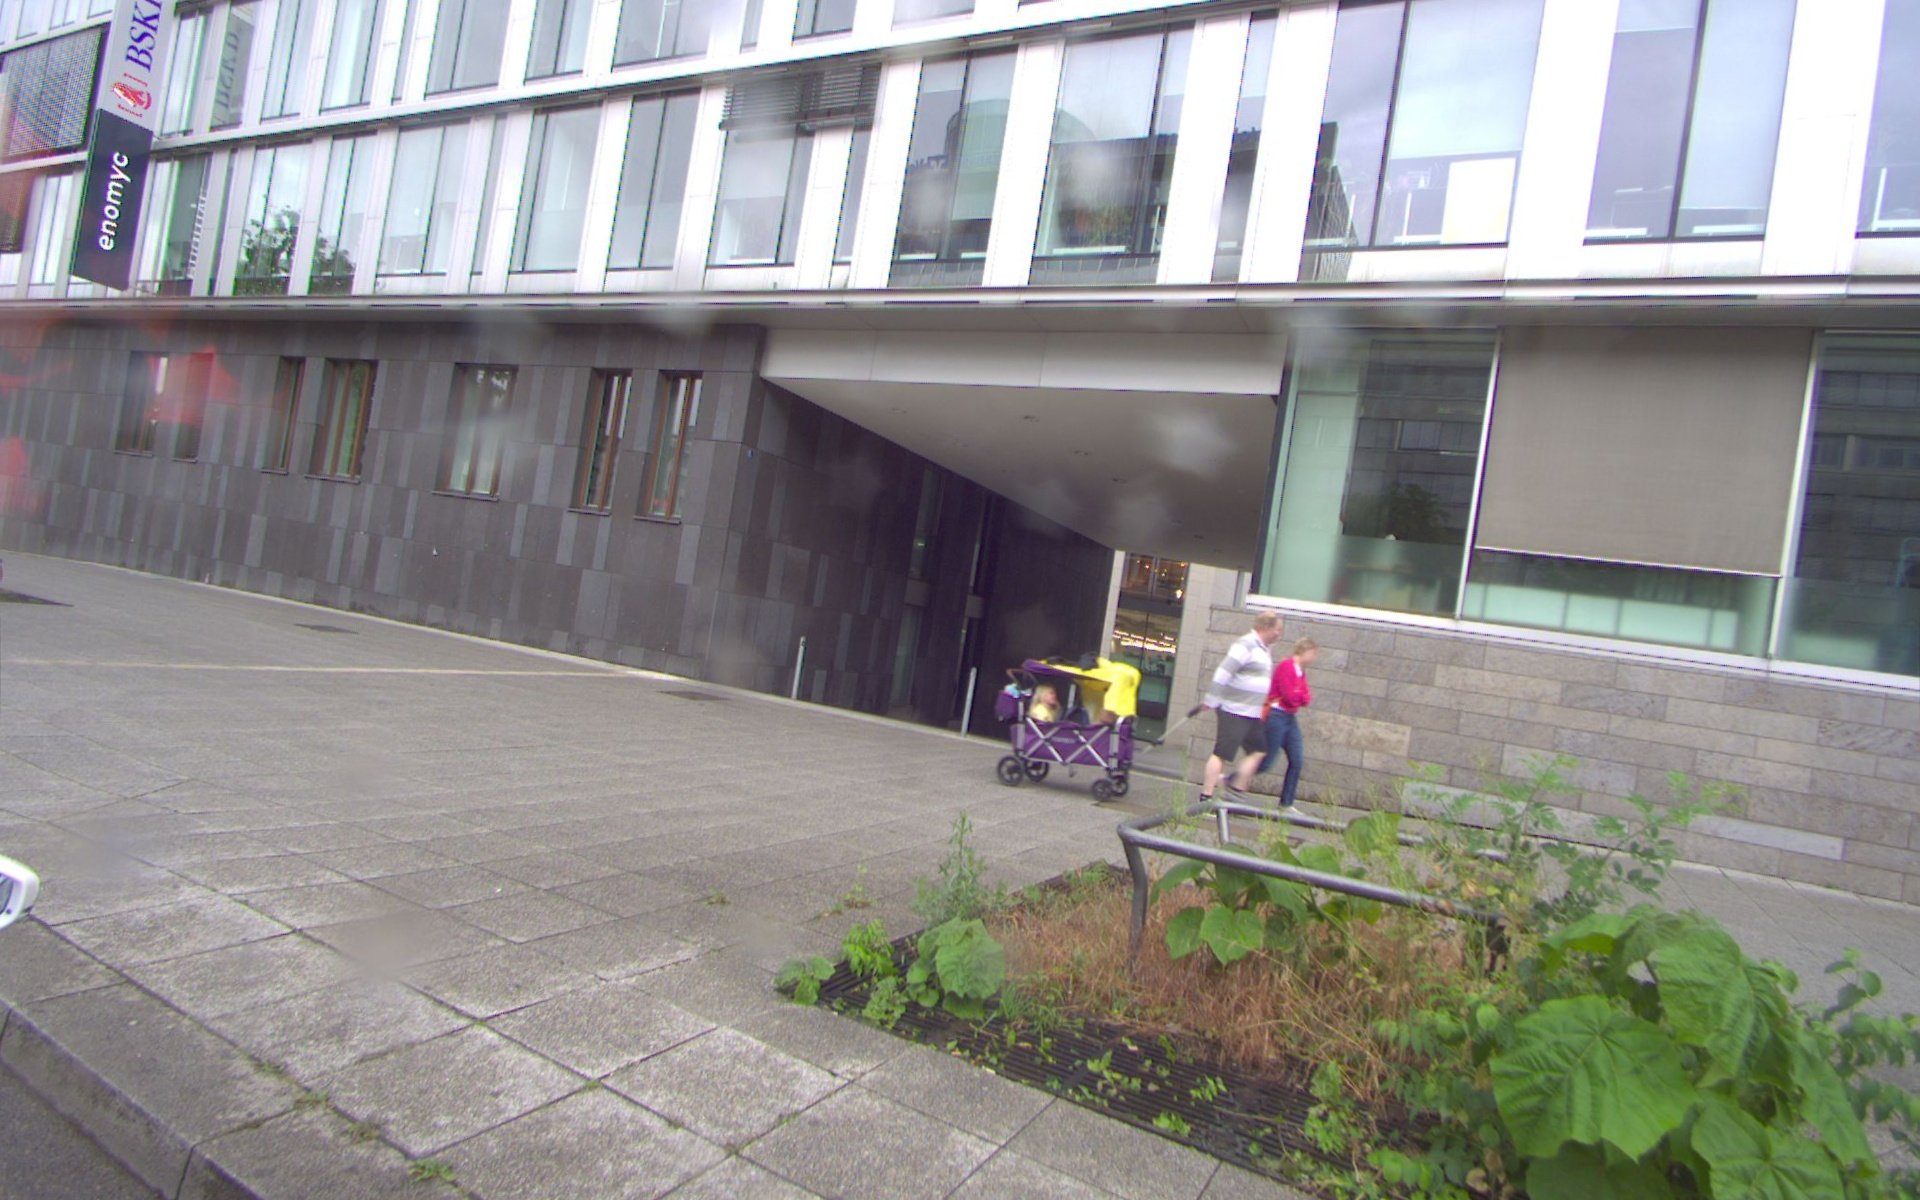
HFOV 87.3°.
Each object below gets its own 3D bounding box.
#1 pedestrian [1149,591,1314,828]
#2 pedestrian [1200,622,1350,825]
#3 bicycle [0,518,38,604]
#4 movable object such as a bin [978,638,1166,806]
[{"bbox_3d":[2.374,0.905,8.739,1.028,1.814,0.901,7,1,26],"label":"pedestrian"},{"bbox_3d":[3.015,1.138,9.610,1.080,1.712,0.719,7,1,26],"label":"pedestrian"},{"bbox_3d":[-13.066,-0.638,12.256,0.665,1.069,2.543,7,-2,27],"label":"bicycle"},{"bbox_3d":[1.022,1.079,9.188,1.420,1.279,0.733,6,-2,29],"label":"movable object such as a bin"}]
